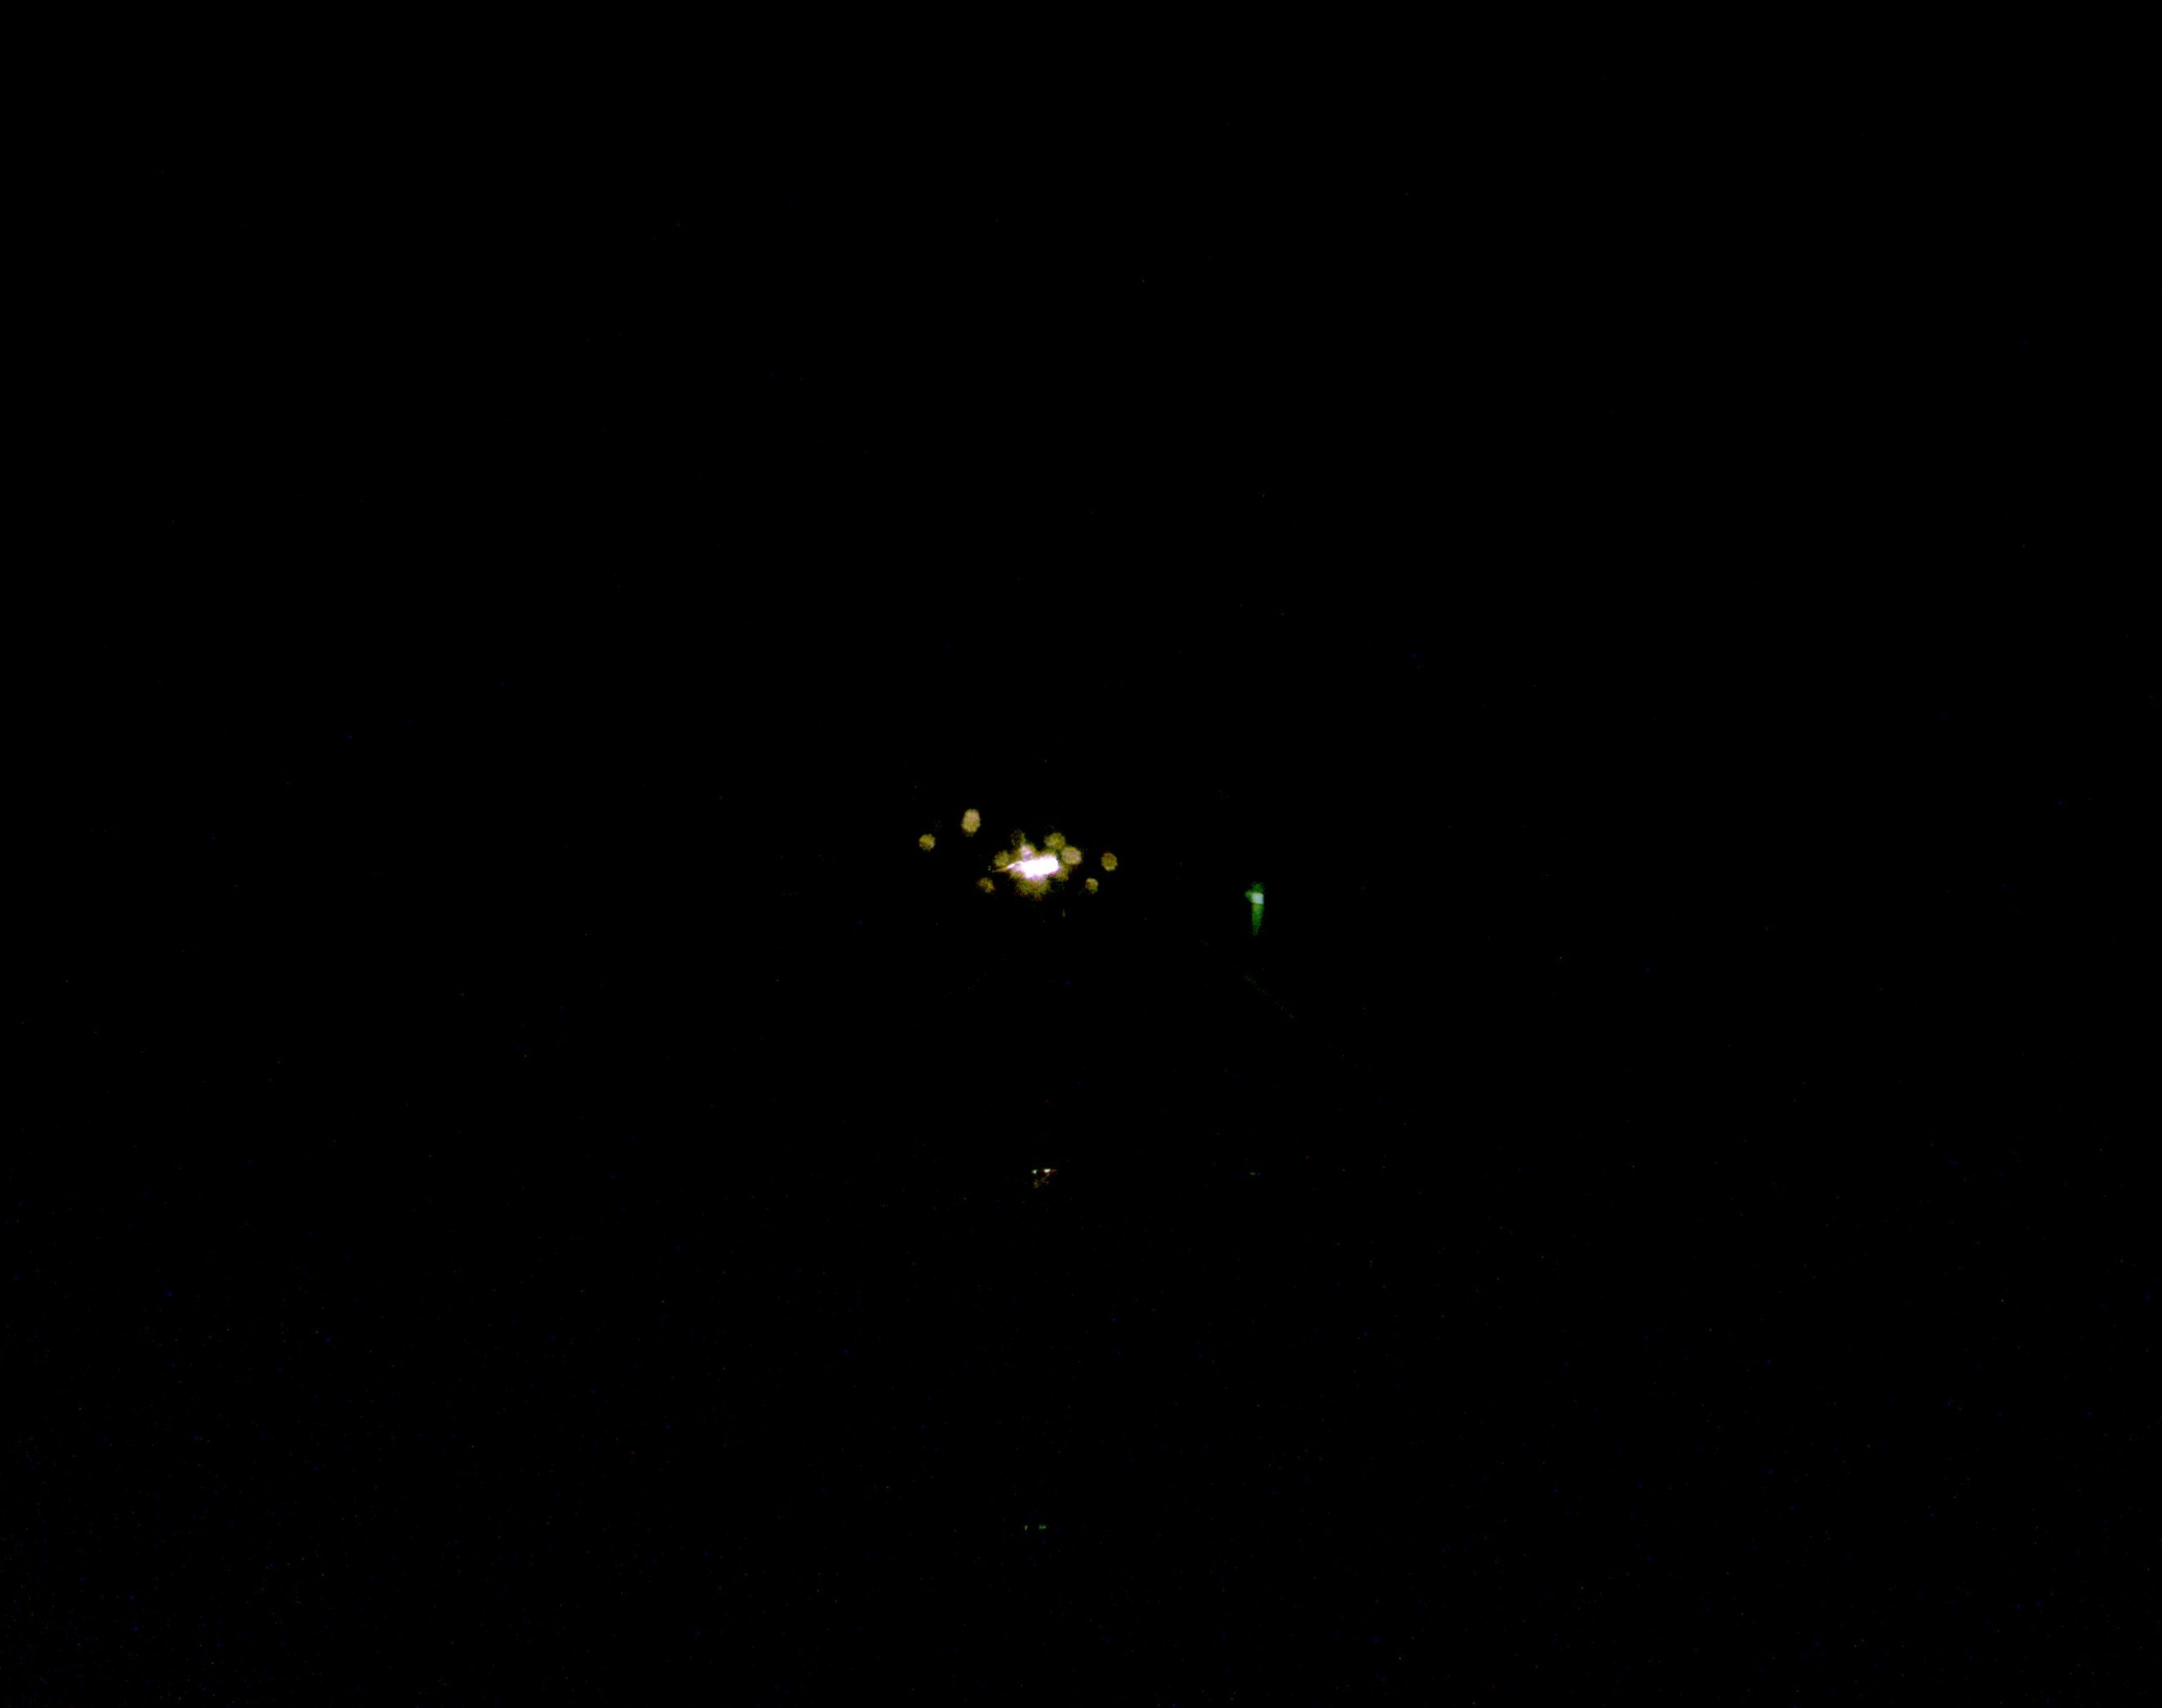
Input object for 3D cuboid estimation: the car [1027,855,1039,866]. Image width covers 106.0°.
[{"bbox_3d":[-7.135,0.925,120.675,1.717,1.613,3.998,0,0,-2],"label":"car"}]
